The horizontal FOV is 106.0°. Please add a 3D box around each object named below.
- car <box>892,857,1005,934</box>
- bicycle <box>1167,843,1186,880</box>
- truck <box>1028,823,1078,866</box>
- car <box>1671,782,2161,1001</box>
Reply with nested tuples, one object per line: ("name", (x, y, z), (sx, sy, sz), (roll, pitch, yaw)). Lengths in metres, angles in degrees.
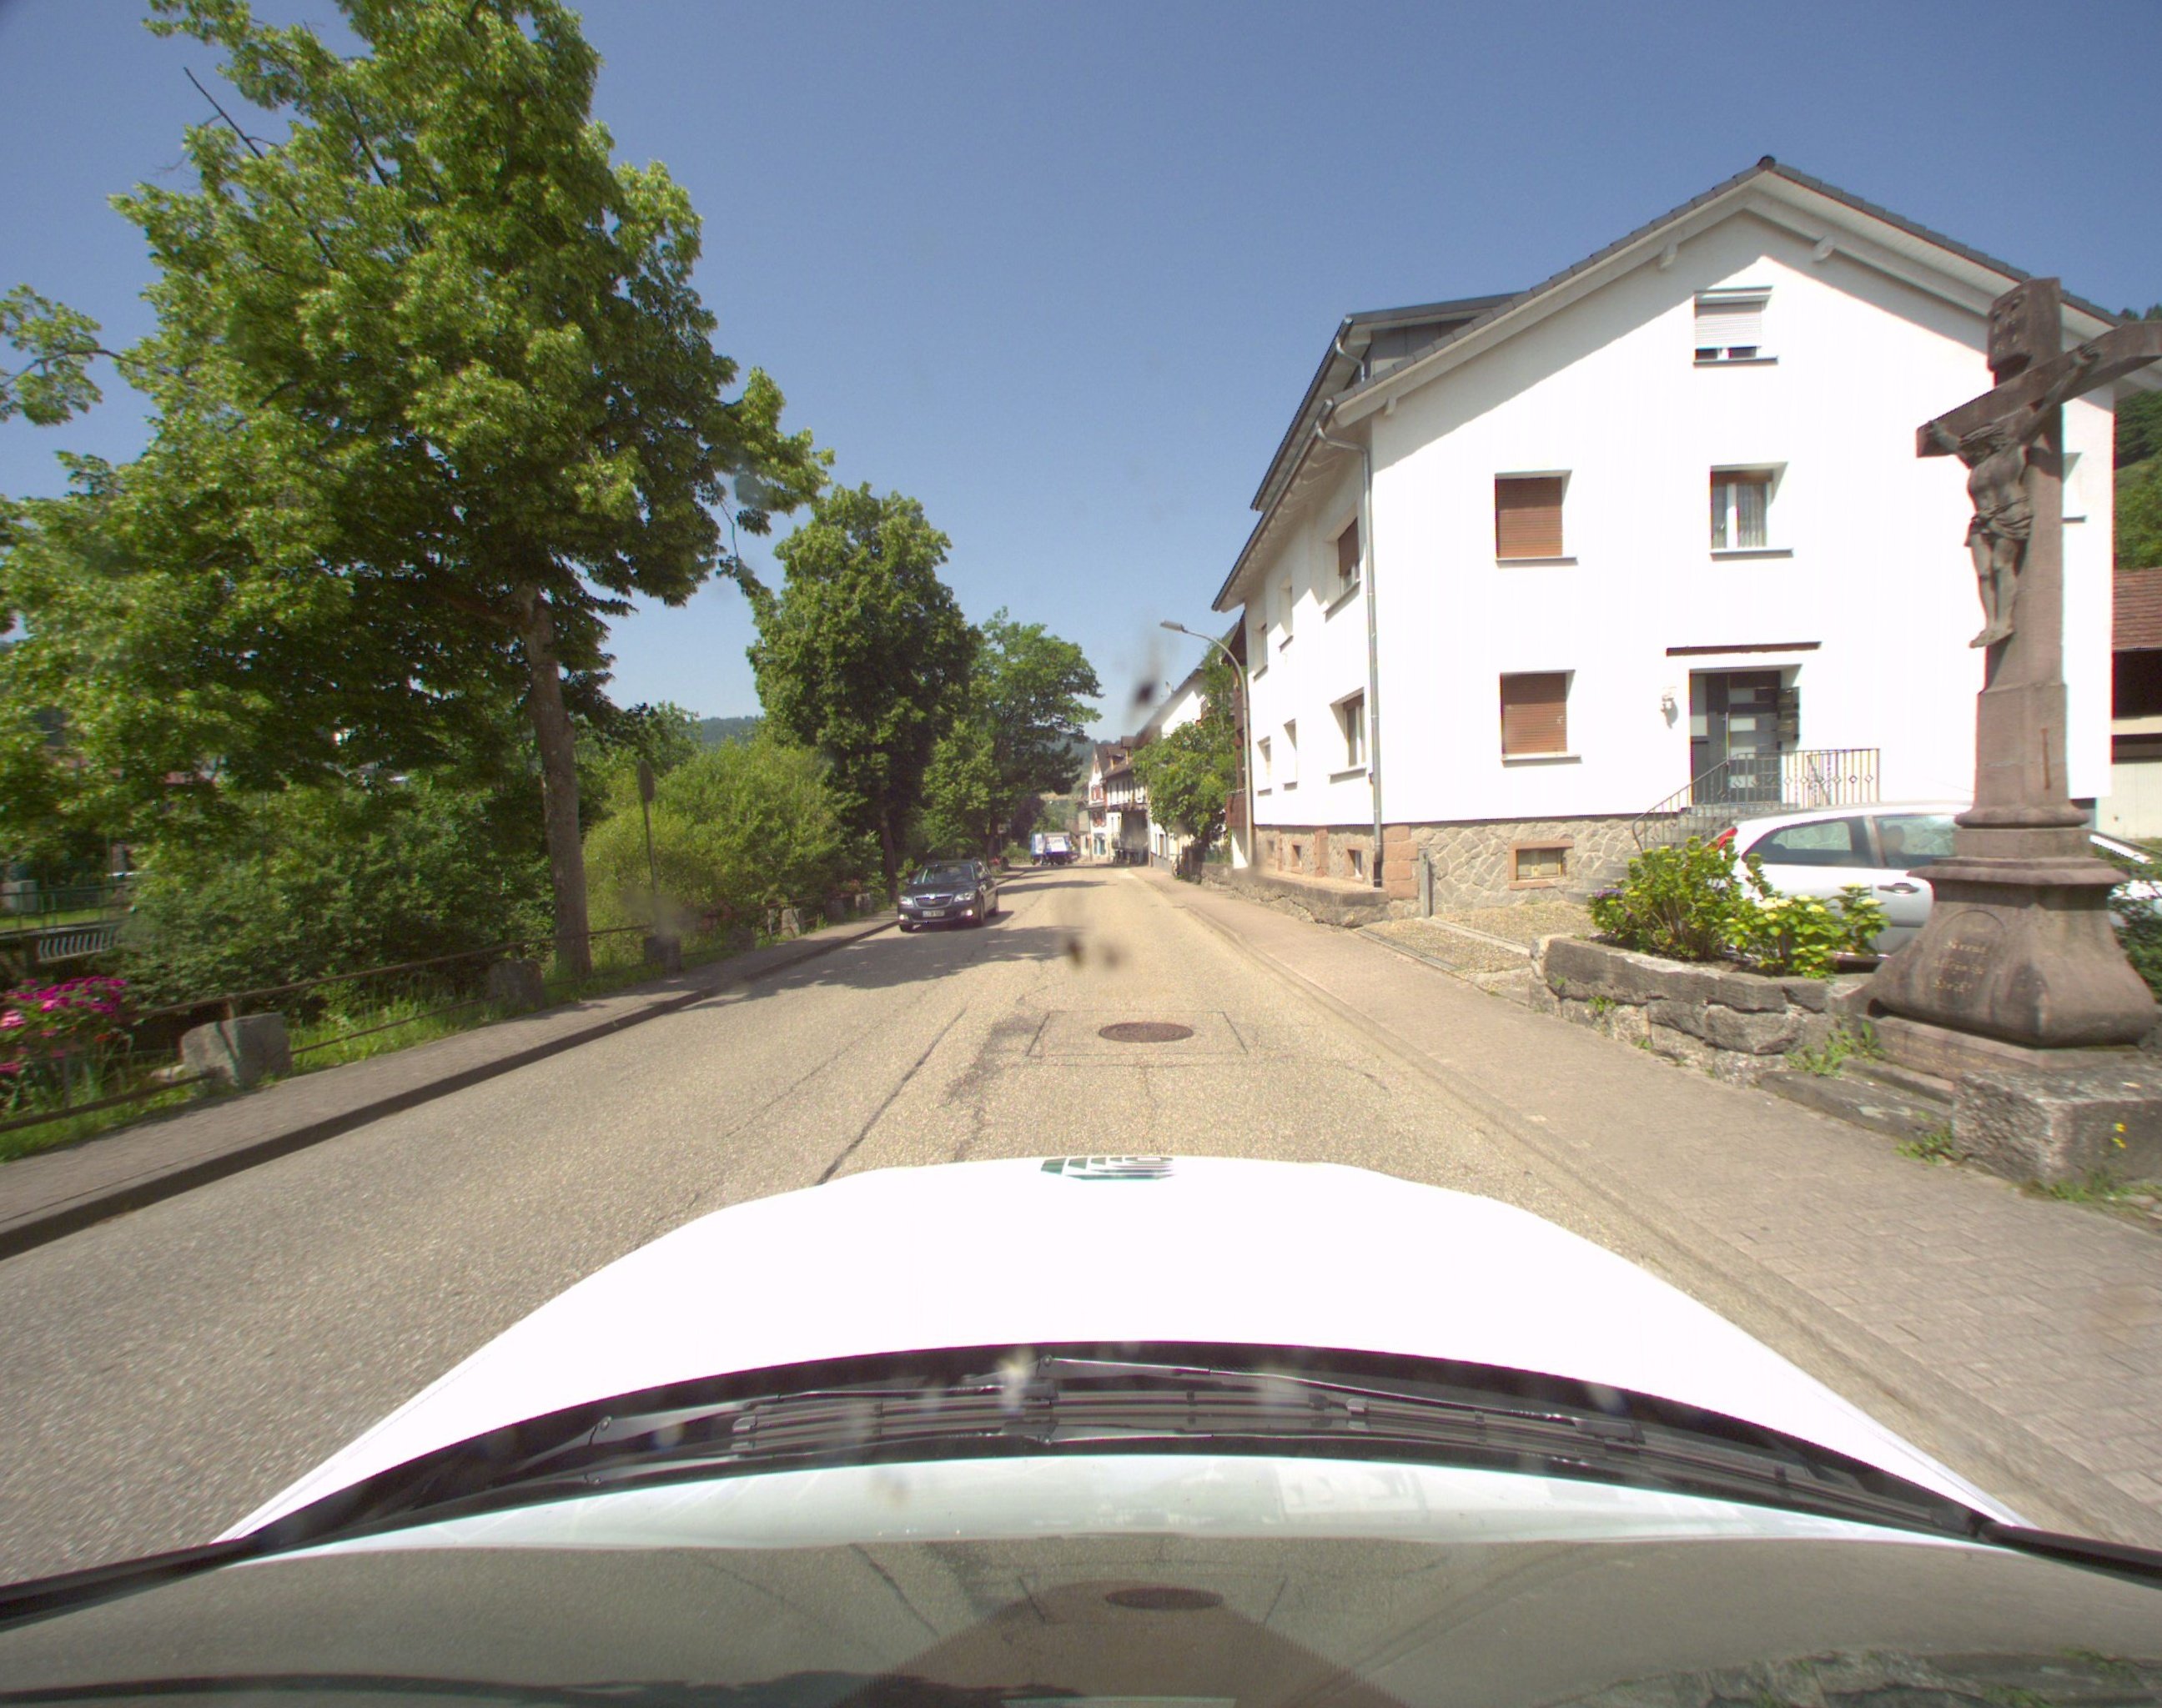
("car", (-2.837, 0.826, 18.270), (1.660, 1.418, 4.088), (-4, 0, 1))
("bicycle", (3.833, 0.278, 32.888), (0.424, 1.396, 2.278), (-6, 0, 2))
("truck", (-3.084, -0.866, 85.700), (3.368, 3.782, 8.400), (-5, -2, -13))
("car", (7.110, 0.239, 6.392), (1.619, 1.427, 3.730), (-4, 0, -44))
